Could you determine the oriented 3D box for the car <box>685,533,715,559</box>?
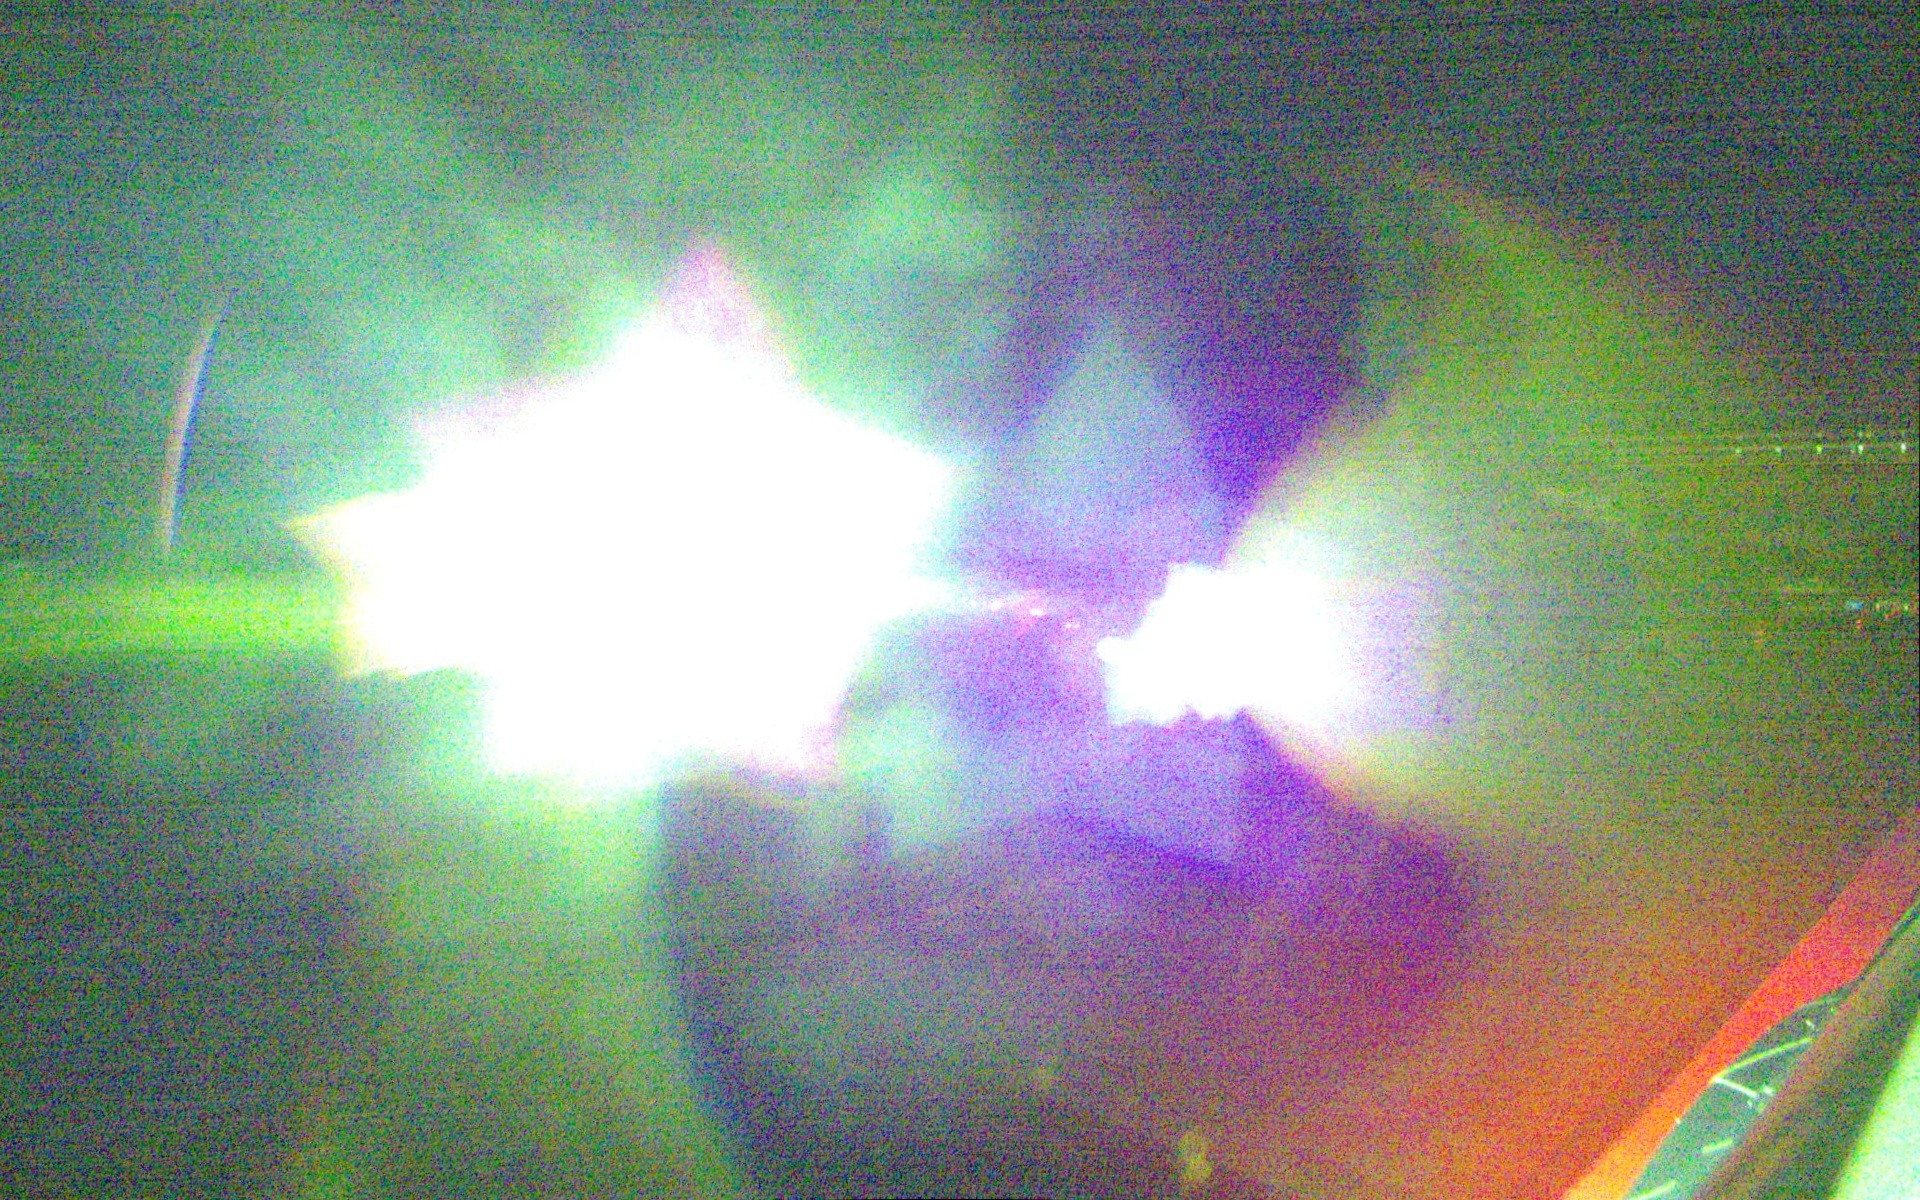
[{"bbox_3d":[-20.728,-4.320,80.774,1.959,1.877,4.006,0,0,-10],"label":"car"}]

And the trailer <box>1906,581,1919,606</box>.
[{"bbox_3d":[153.278,-1.016,160.881,2.708,4.006,8.936,1,1,34],"label":"trailer"}]
